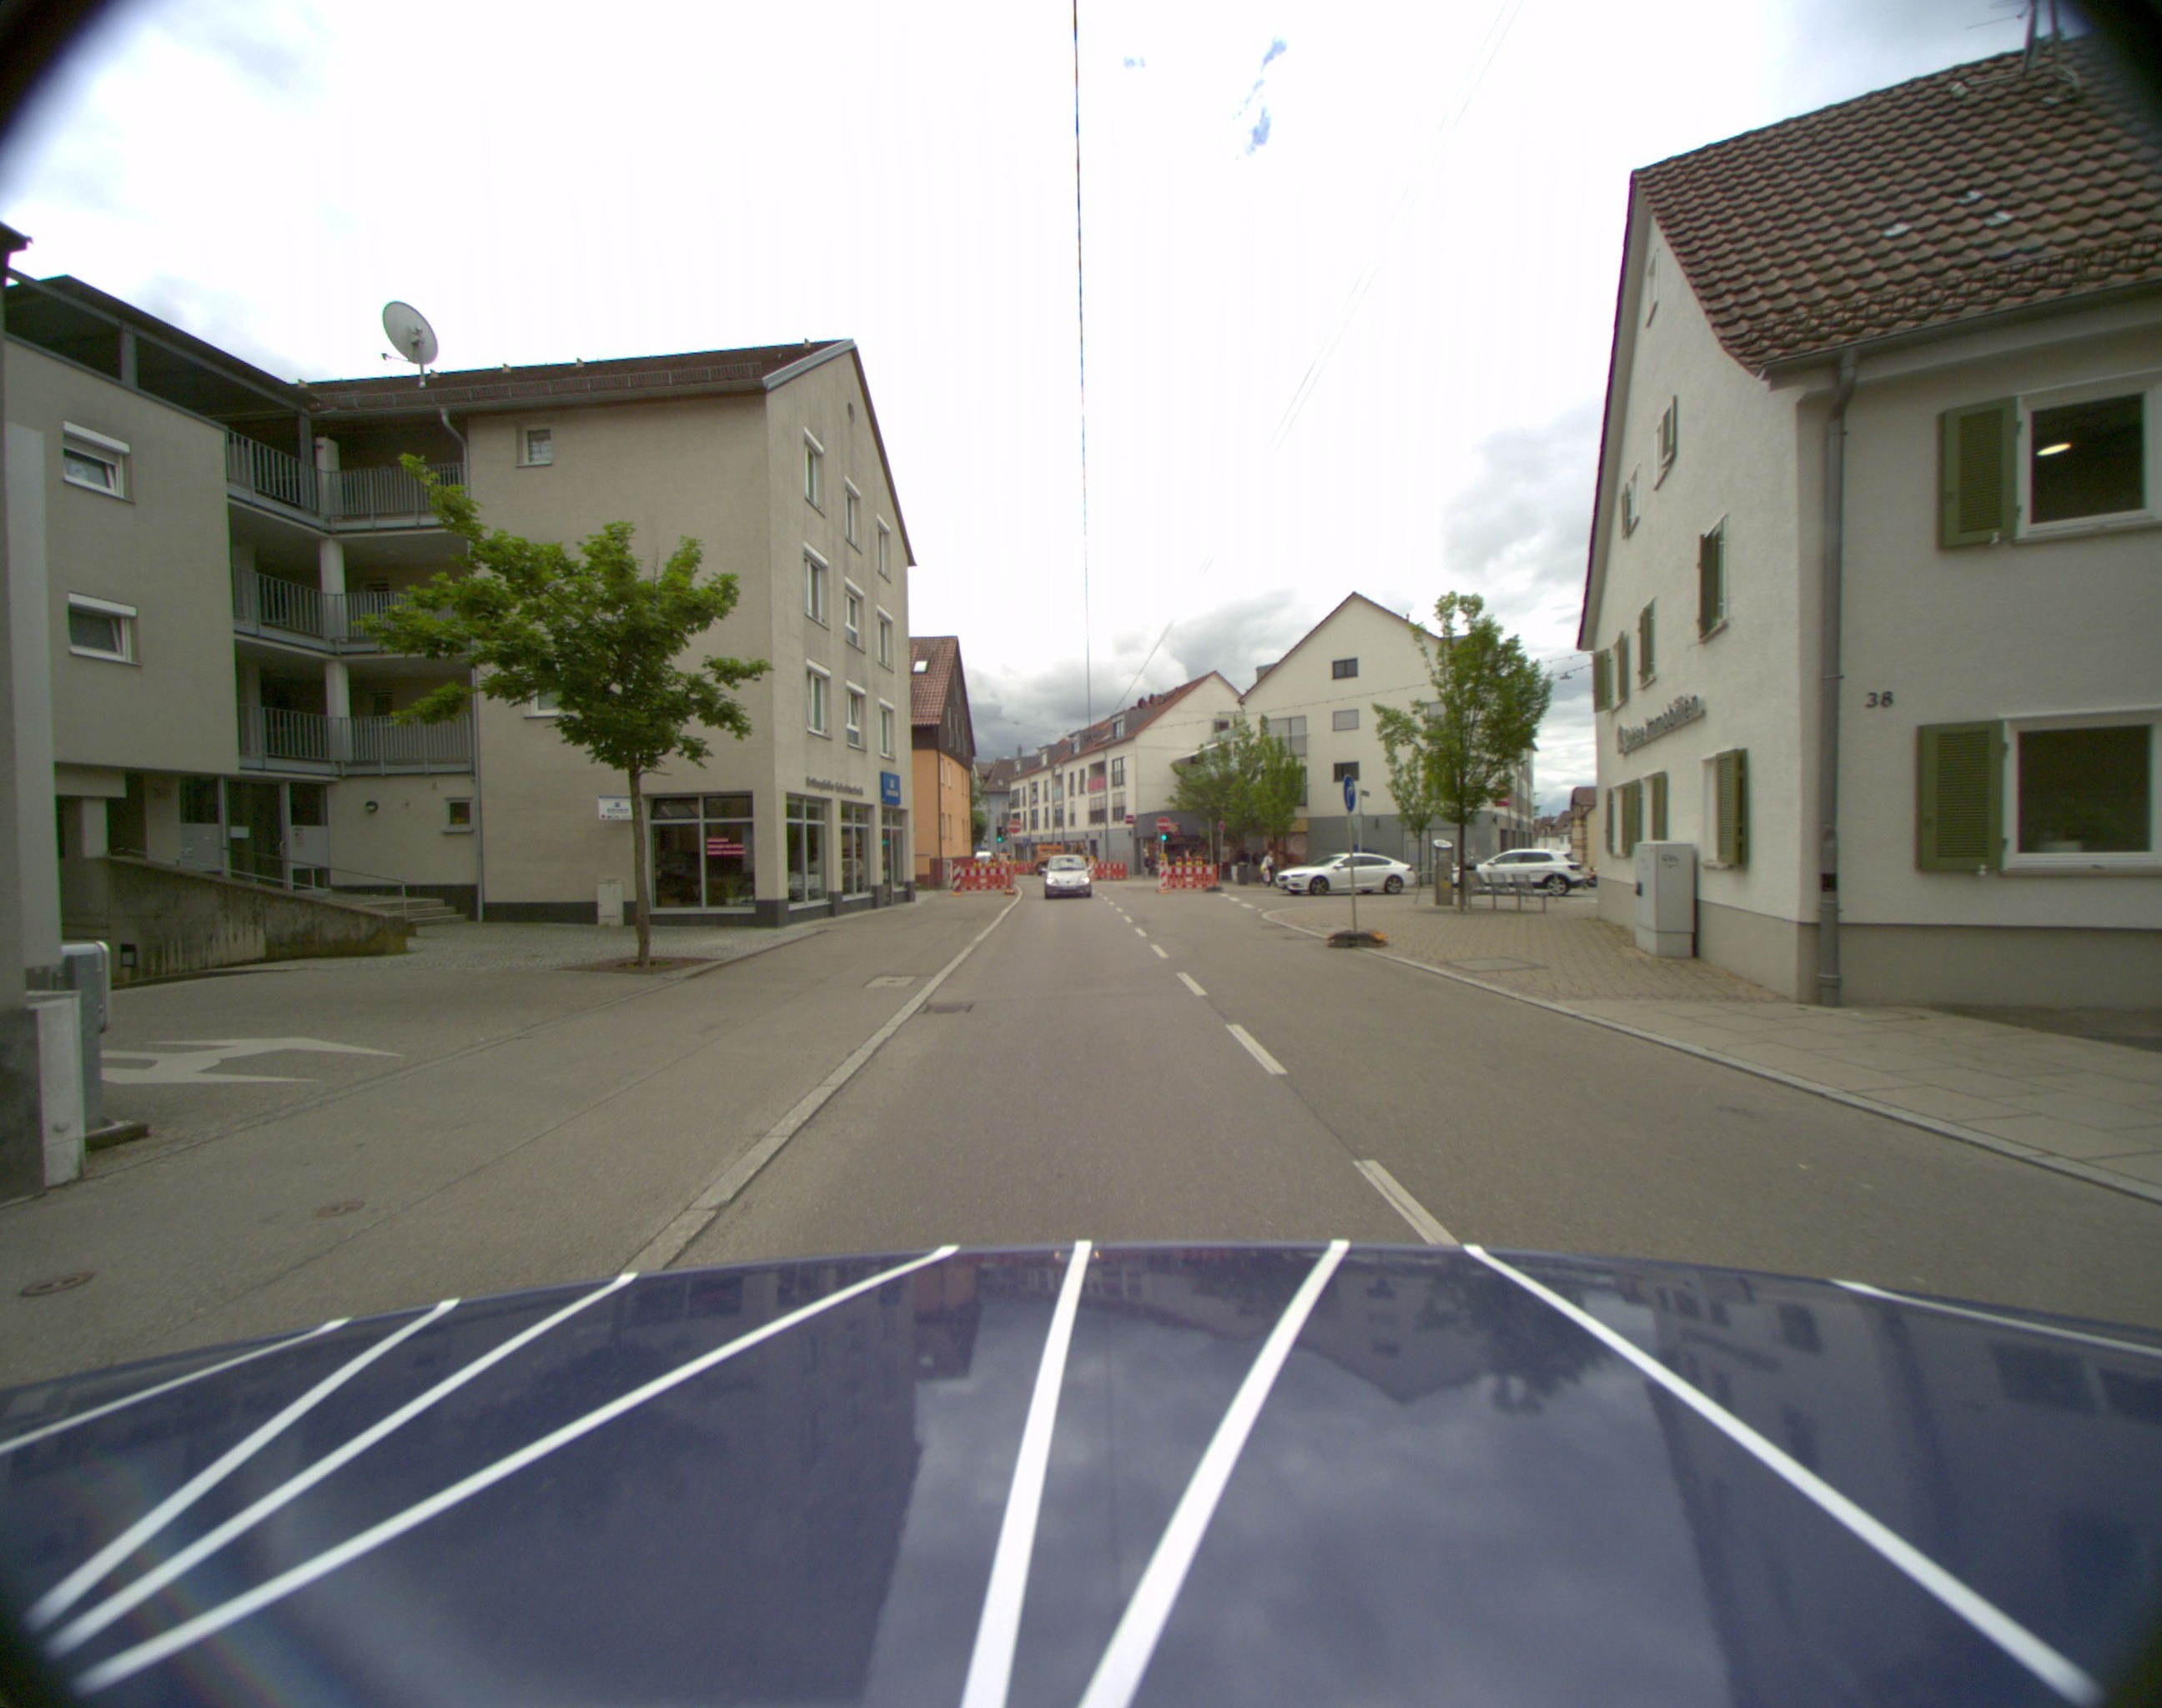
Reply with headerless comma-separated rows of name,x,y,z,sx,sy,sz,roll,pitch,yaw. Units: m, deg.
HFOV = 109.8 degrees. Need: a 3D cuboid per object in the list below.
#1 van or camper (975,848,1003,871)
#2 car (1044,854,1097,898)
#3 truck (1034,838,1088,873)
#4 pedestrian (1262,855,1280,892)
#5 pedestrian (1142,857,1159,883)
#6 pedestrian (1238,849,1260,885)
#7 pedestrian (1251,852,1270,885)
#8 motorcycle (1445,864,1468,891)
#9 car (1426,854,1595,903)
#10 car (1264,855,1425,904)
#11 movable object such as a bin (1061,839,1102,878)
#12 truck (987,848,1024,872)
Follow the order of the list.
van or camper,-10.953,0.686,89.970,2.328,2.591,6.200,0,-1,-16
car,-0.323,0.828,29.223,1.858,1.547,4.353,0,-1,1
truck,-1.791,0.154,63.141,2.742,2.708,6.838,-1,-1,-17
pedestrian,8.194,0.831,32.806,0.682,1.583,0.880,0,0,9
pedestrian,4.521,1.047,49.417,0.835,1.702,0.815,-1,0,-11
pedestrian,8.986,0.701,40.572,0.818,1.914,0.782,-1,0,-39
pedestrian,9.706,0.792,41.101,0.695,1.780,0.716,-1,0,-42
motorcycle,17.899,1.117,36.182,0.571,1.141,1.790,-4,-1,37
car,14.975,0.854,26.602,4.905,1.548,2.025,-2,0,36
car,9.275,0.867,26.931,4.920,1.468,2.247,-2,0,-12
movable object such as a bin,-0.007,0.315,56.114,1.846,2.747,4.499,-1,1,-15
truck,-8.161,0.652,81.670,2.424,2.451,6.297,0,-1,-21
